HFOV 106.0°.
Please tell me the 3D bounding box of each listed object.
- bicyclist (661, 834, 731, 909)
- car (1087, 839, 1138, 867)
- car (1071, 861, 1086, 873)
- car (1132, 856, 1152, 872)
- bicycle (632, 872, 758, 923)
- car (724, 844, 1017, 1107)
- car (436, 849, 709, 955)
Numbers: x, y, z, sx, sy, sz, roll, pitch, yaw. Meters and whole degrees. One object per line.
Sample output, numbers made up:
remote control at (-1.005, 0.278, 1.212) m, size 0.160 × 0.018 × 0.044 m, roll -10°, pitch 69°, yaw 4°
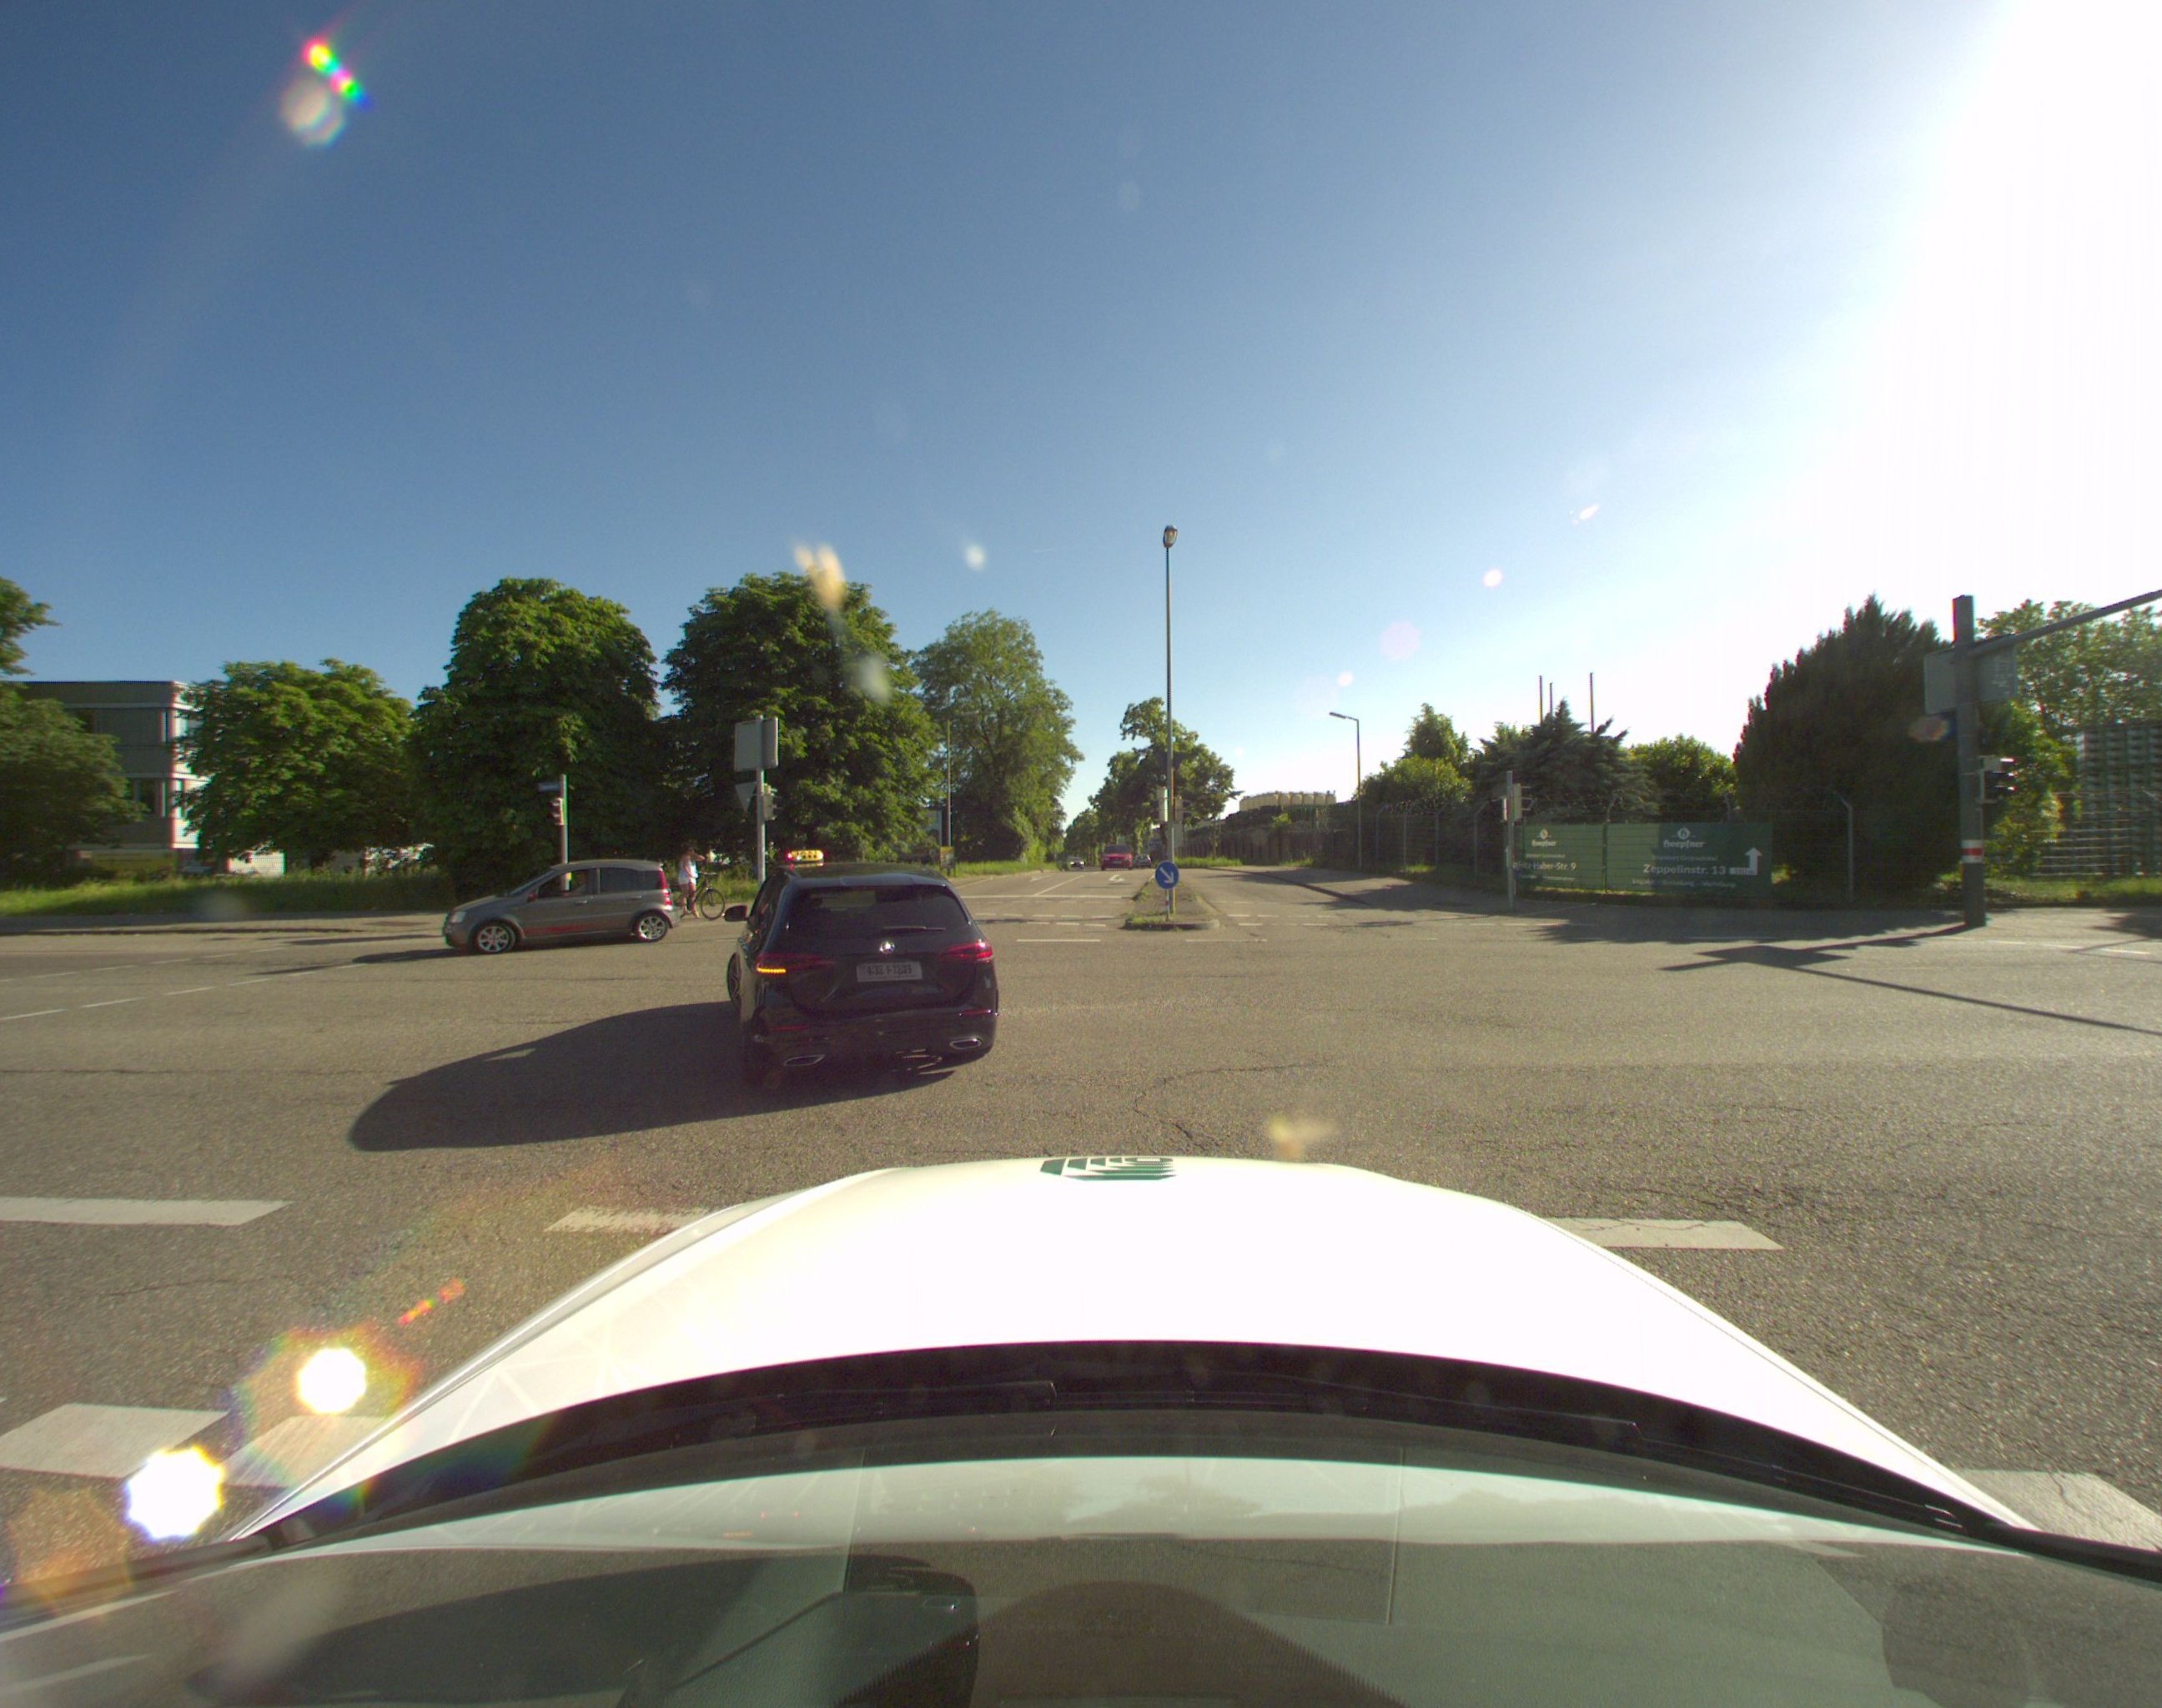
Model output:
bicyclist at (-8.978, 0.399, 19.019) m, size 1.176 × 1.693 × 0.897 m, roll -1°, pitch -1°, yaw 22°
car at (1.692, -0.035, 45.449) m, size 1.859 × 1.470 × 4.120 m, roll -1°, pitch 0°, yaw -13°
car at (-0.354, 1.685, 104.520) m, size 1.852 × 1.470 × 4.136 m, roll -1°, pitch 0°, yaw -1°
car at (6.283, 1.017, 84.018) m, size 1.685 × 1.632 × 3.126 m, roll -1°, pitch 0°, yaw -4°
bicycle at (-9.031, 0.991, 19.029) m, size 2.918 × 1.125 × 0.908 m, roll -1°, pitch -1°, yaw 22°
car at (-2.098, 0.751, 7.152) m, size 1.778 × 1.592 × 3.956 m, roll -1°, pitch 0°, yaw -25°
car at (-9.143, 0.770, 14.833) m, size 4.018 × 1.640 × 1.790 m, roll -1°, pitch -1°, yaw -37°
